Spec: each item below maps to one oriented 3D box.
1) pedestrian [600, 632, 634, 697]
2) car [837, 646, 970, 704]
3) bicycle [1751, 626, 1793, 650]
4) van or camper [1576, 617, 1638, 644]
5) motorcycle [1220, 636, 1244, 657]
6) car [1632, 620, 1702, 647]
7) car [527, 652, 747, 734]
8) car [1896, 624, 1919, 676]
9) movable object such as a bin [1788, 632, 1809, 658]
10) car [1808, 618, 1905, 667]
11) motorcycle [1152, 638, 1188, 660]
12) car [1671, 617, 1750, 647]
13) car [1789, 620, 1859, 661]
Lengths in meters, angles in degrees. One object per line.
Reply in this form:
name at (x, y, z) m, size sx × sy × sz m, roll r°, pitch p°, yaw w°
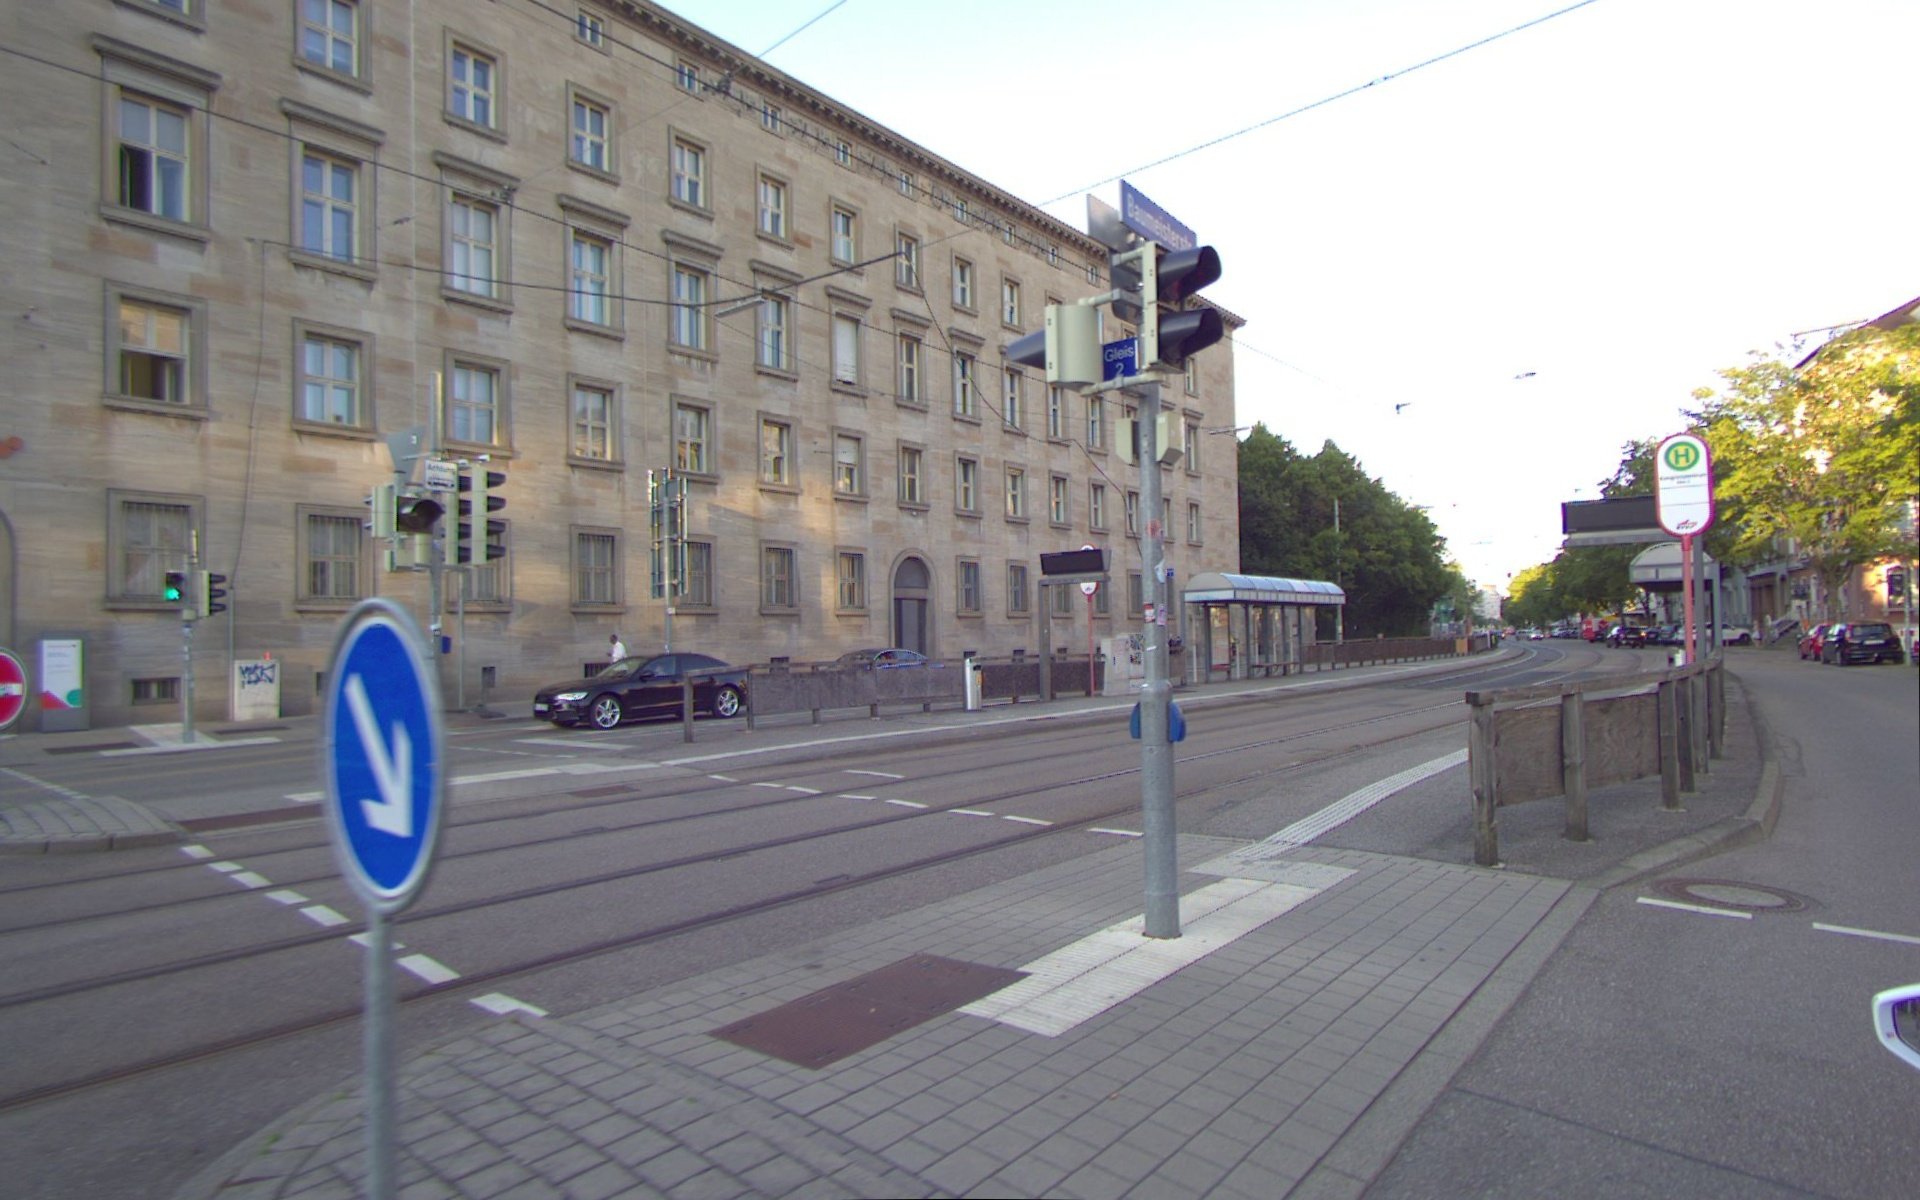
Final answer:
pedestrian at (-9.365, 1.747, 27.447) m, size 0.688 × 1.732 × 0.642 m, roll -2°, pitch -2°, yaw 43°
car at (-1.519, 2.048, 28.022) m, size 1.624 × 1.446 × 3.687 m, roll -2°, pitch -2°, yaw 40°
bicycle at (44.378, 2.065, 54.920) m, size 1.883 × 1.283 × 0.601 m, roll -1°, pitch -2°, yaw -8°
van or camper at (70.303, 3.335, 109.178) m, size 5.447 × 2.562 × 2.085 m, roll -3°, pitch -3°, yaw -8°
motorcycle at (12.619, 2.131, 46.544) m, size 0.471 × 0.940 × 1.503 m, roll -2°, pitch -2°, yaw 40°
car at (51.835, 2.469, 73.629) m, size 3.883 × 1.690 × 1.900 m, roll -3°, pitch -4°, yaw -10°
car at (-6.684, 1.877, 21.153) m, size 1.624 × 1.446 × 4.212 m, roll -2°, pitch -2°, yaw 40°
car at (29.030, 1.383, 28.163) m, size 4.128 × 1.473 × 1.645 m, roll -1°, pitch -2°, yaw -2°
movable object such as a bin at (38.344, 2.058, 45.961) m, size 0.704 × 1.169 × 0.585 m, roll -2°, pitch -2°, yaw 40°
car at (32.655, 1.543, 36.699) m, size 1.718 × 1.653 × 4.081 m, roll -4°, pitch -4°, yaw 30°
motorcycle at (11.035, 2.554, 52.742) m, size 0.690 × 1.088 × 2.641 m, roll -3°, pitch -3°, yaw 40°
car at (48.954, 2.084, 65.559) m, size 3.879 × 1.648 × 1.674 m, roll -4°, pitch -2°, yaw -3°
car at (35.780, 1.683, 41.679) m, size 1.543 × 1.556 × 3.684 m, roll -4°, pitch -4°, yaw 32°
